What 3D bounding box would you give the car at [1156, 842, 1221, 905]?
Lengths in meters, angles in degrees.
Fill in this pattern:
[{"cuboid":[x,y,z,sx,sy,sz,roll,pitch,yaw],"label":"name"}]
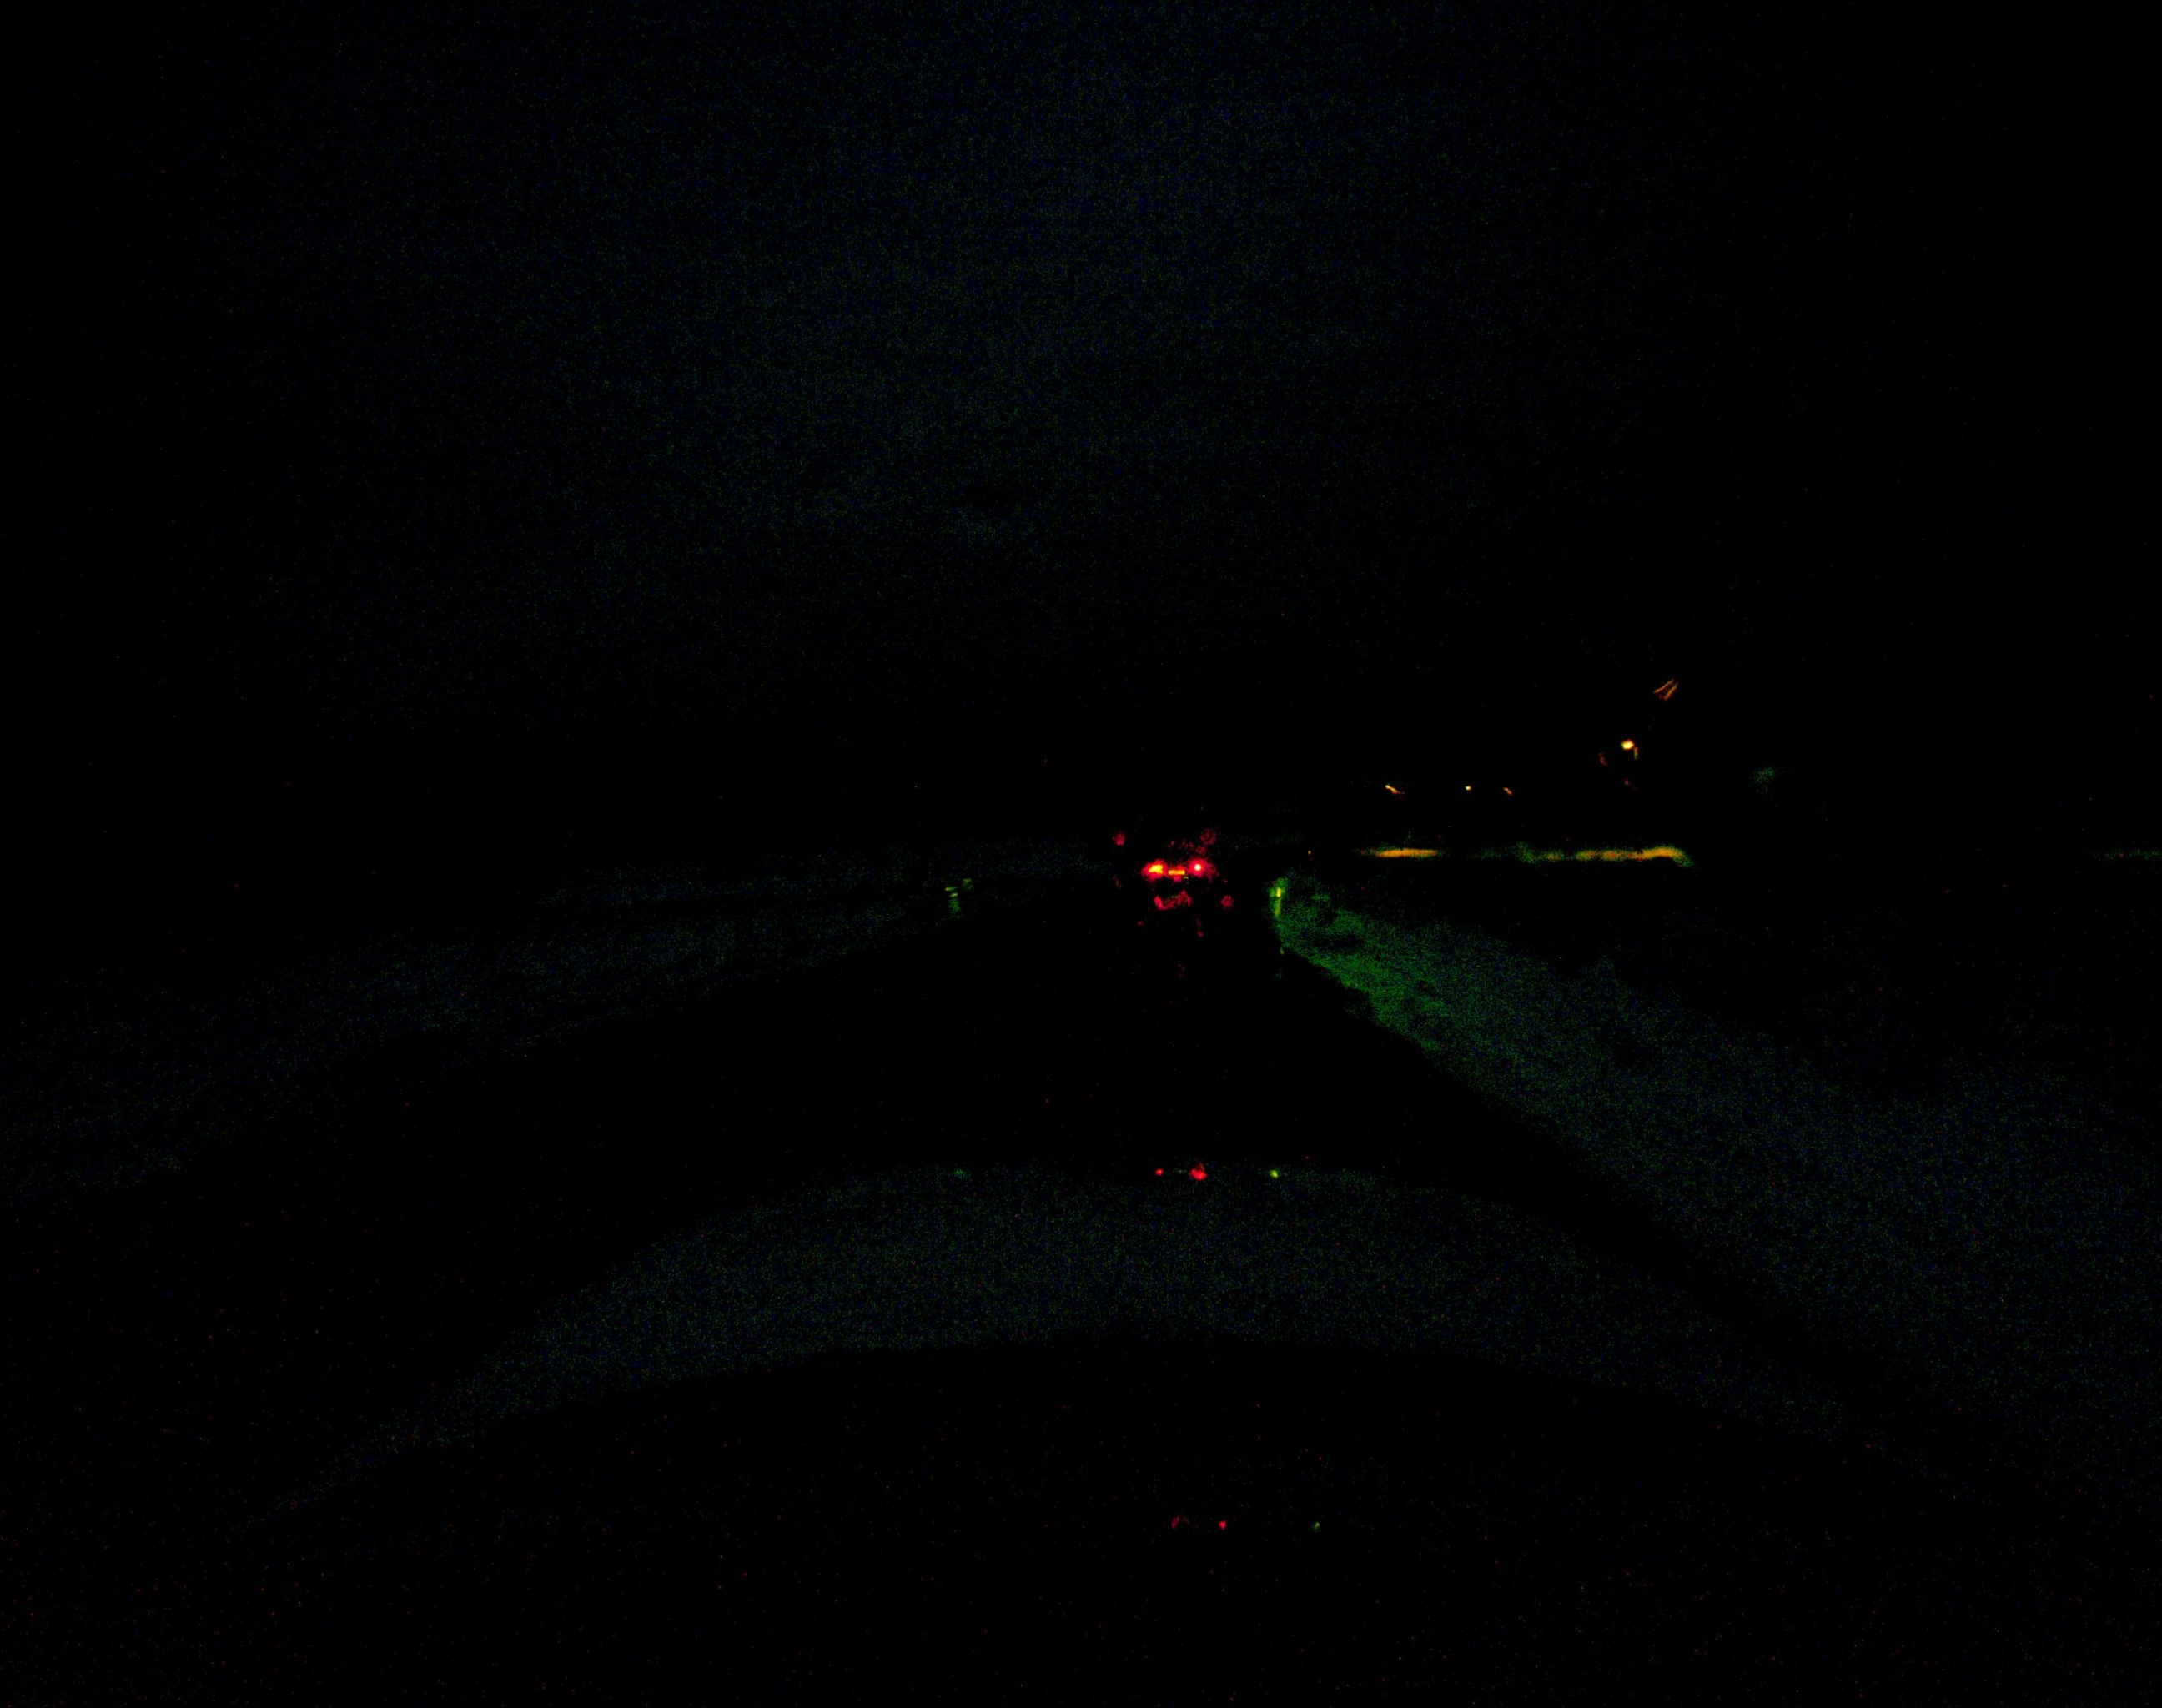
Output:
[{"cuboid":[3.534,0.578,26.264,1.811,1.796,3.588,-4,0,10],"label":"car"}]
